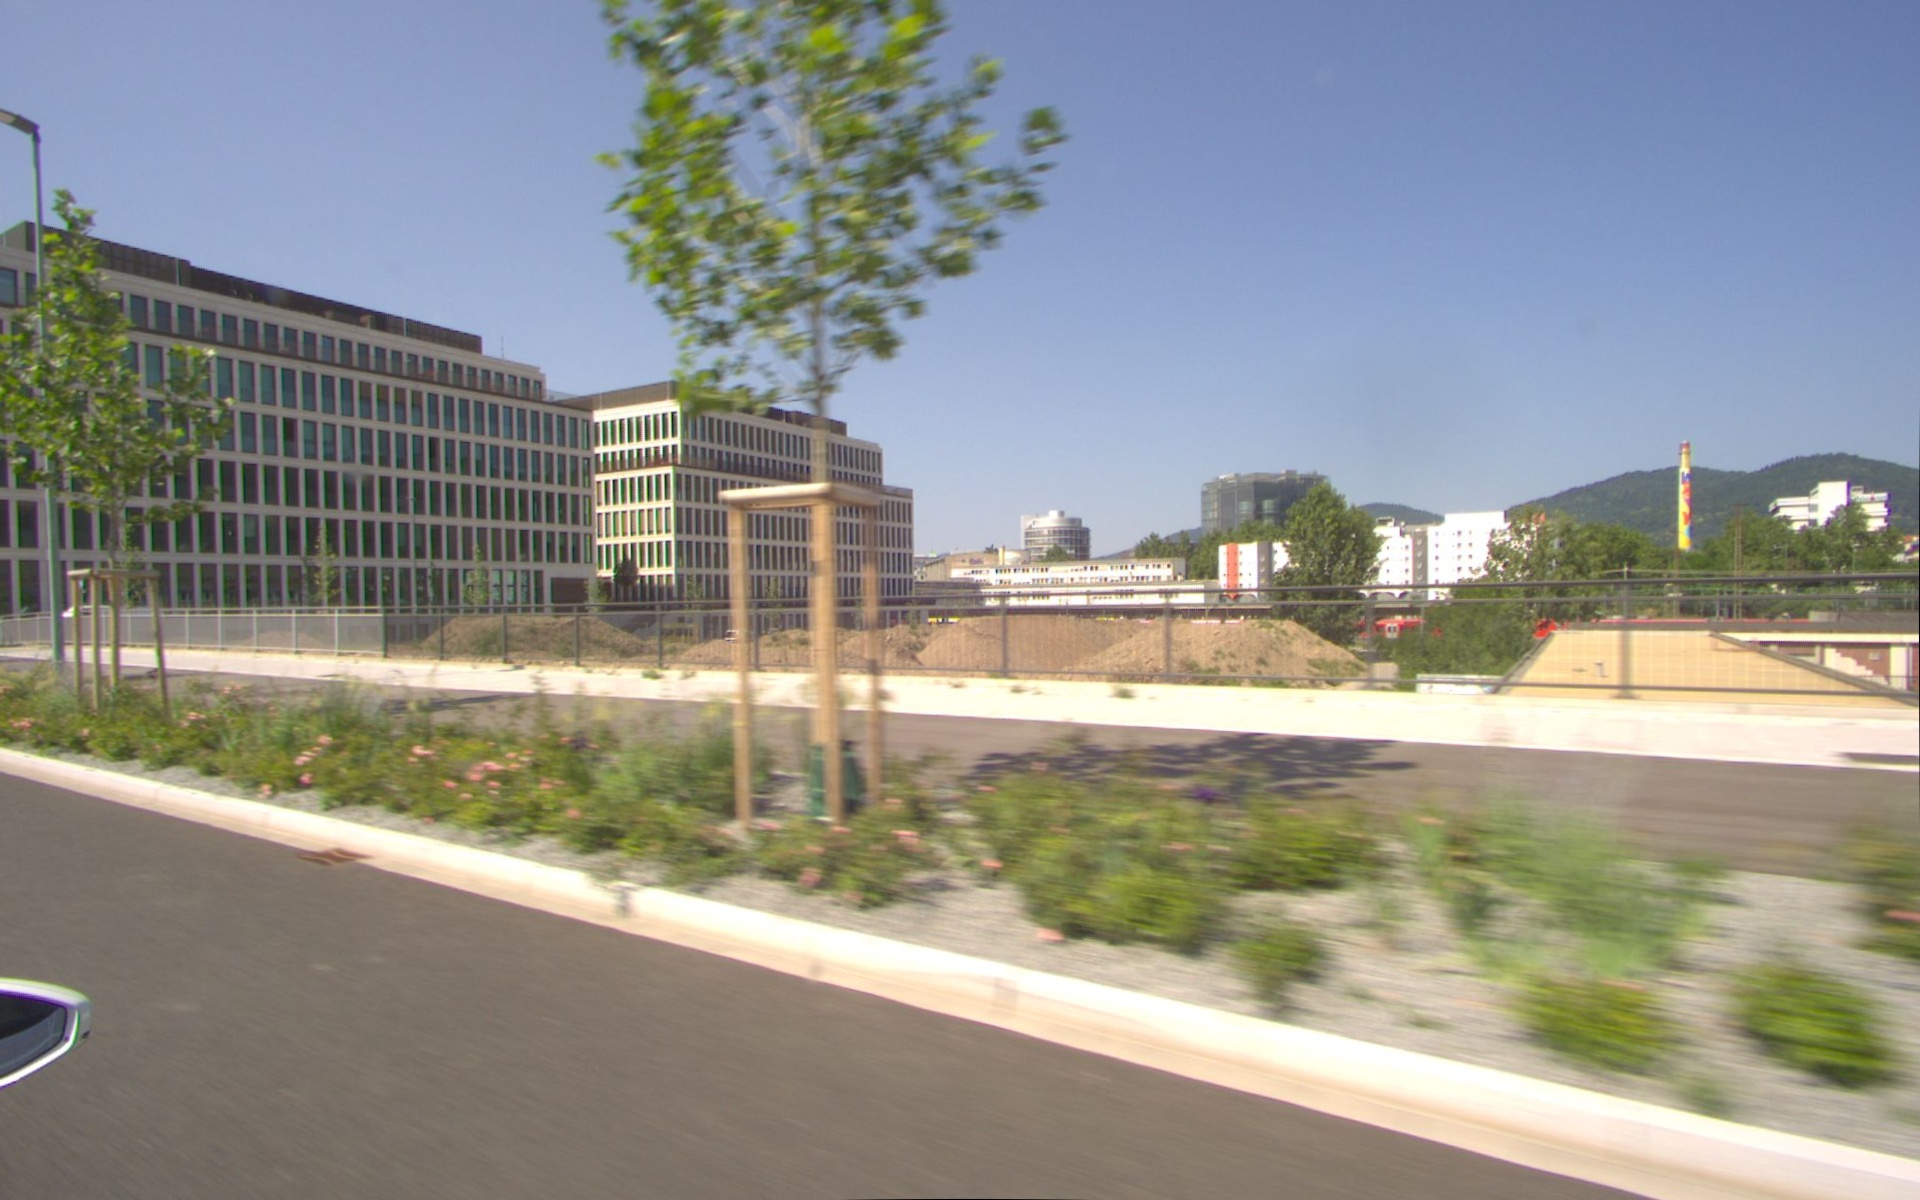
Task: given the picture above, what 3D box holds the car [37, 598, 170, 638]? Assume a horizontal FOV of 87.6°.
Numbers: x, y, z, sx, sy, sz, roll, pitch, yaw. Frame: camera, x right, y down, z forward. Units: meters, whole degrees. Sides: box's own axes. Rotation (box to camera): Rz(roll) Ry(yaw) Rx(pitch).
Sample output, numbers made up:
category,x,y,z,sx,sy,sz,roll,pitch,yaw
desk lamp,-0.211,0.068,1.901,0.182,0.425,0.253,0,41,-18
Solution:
category,x,y,z,sx,sy,sz,roll,pitch,yaw
car,-52.245,1.153,61.217,2.116,2.299,5.825,0,-2,33
